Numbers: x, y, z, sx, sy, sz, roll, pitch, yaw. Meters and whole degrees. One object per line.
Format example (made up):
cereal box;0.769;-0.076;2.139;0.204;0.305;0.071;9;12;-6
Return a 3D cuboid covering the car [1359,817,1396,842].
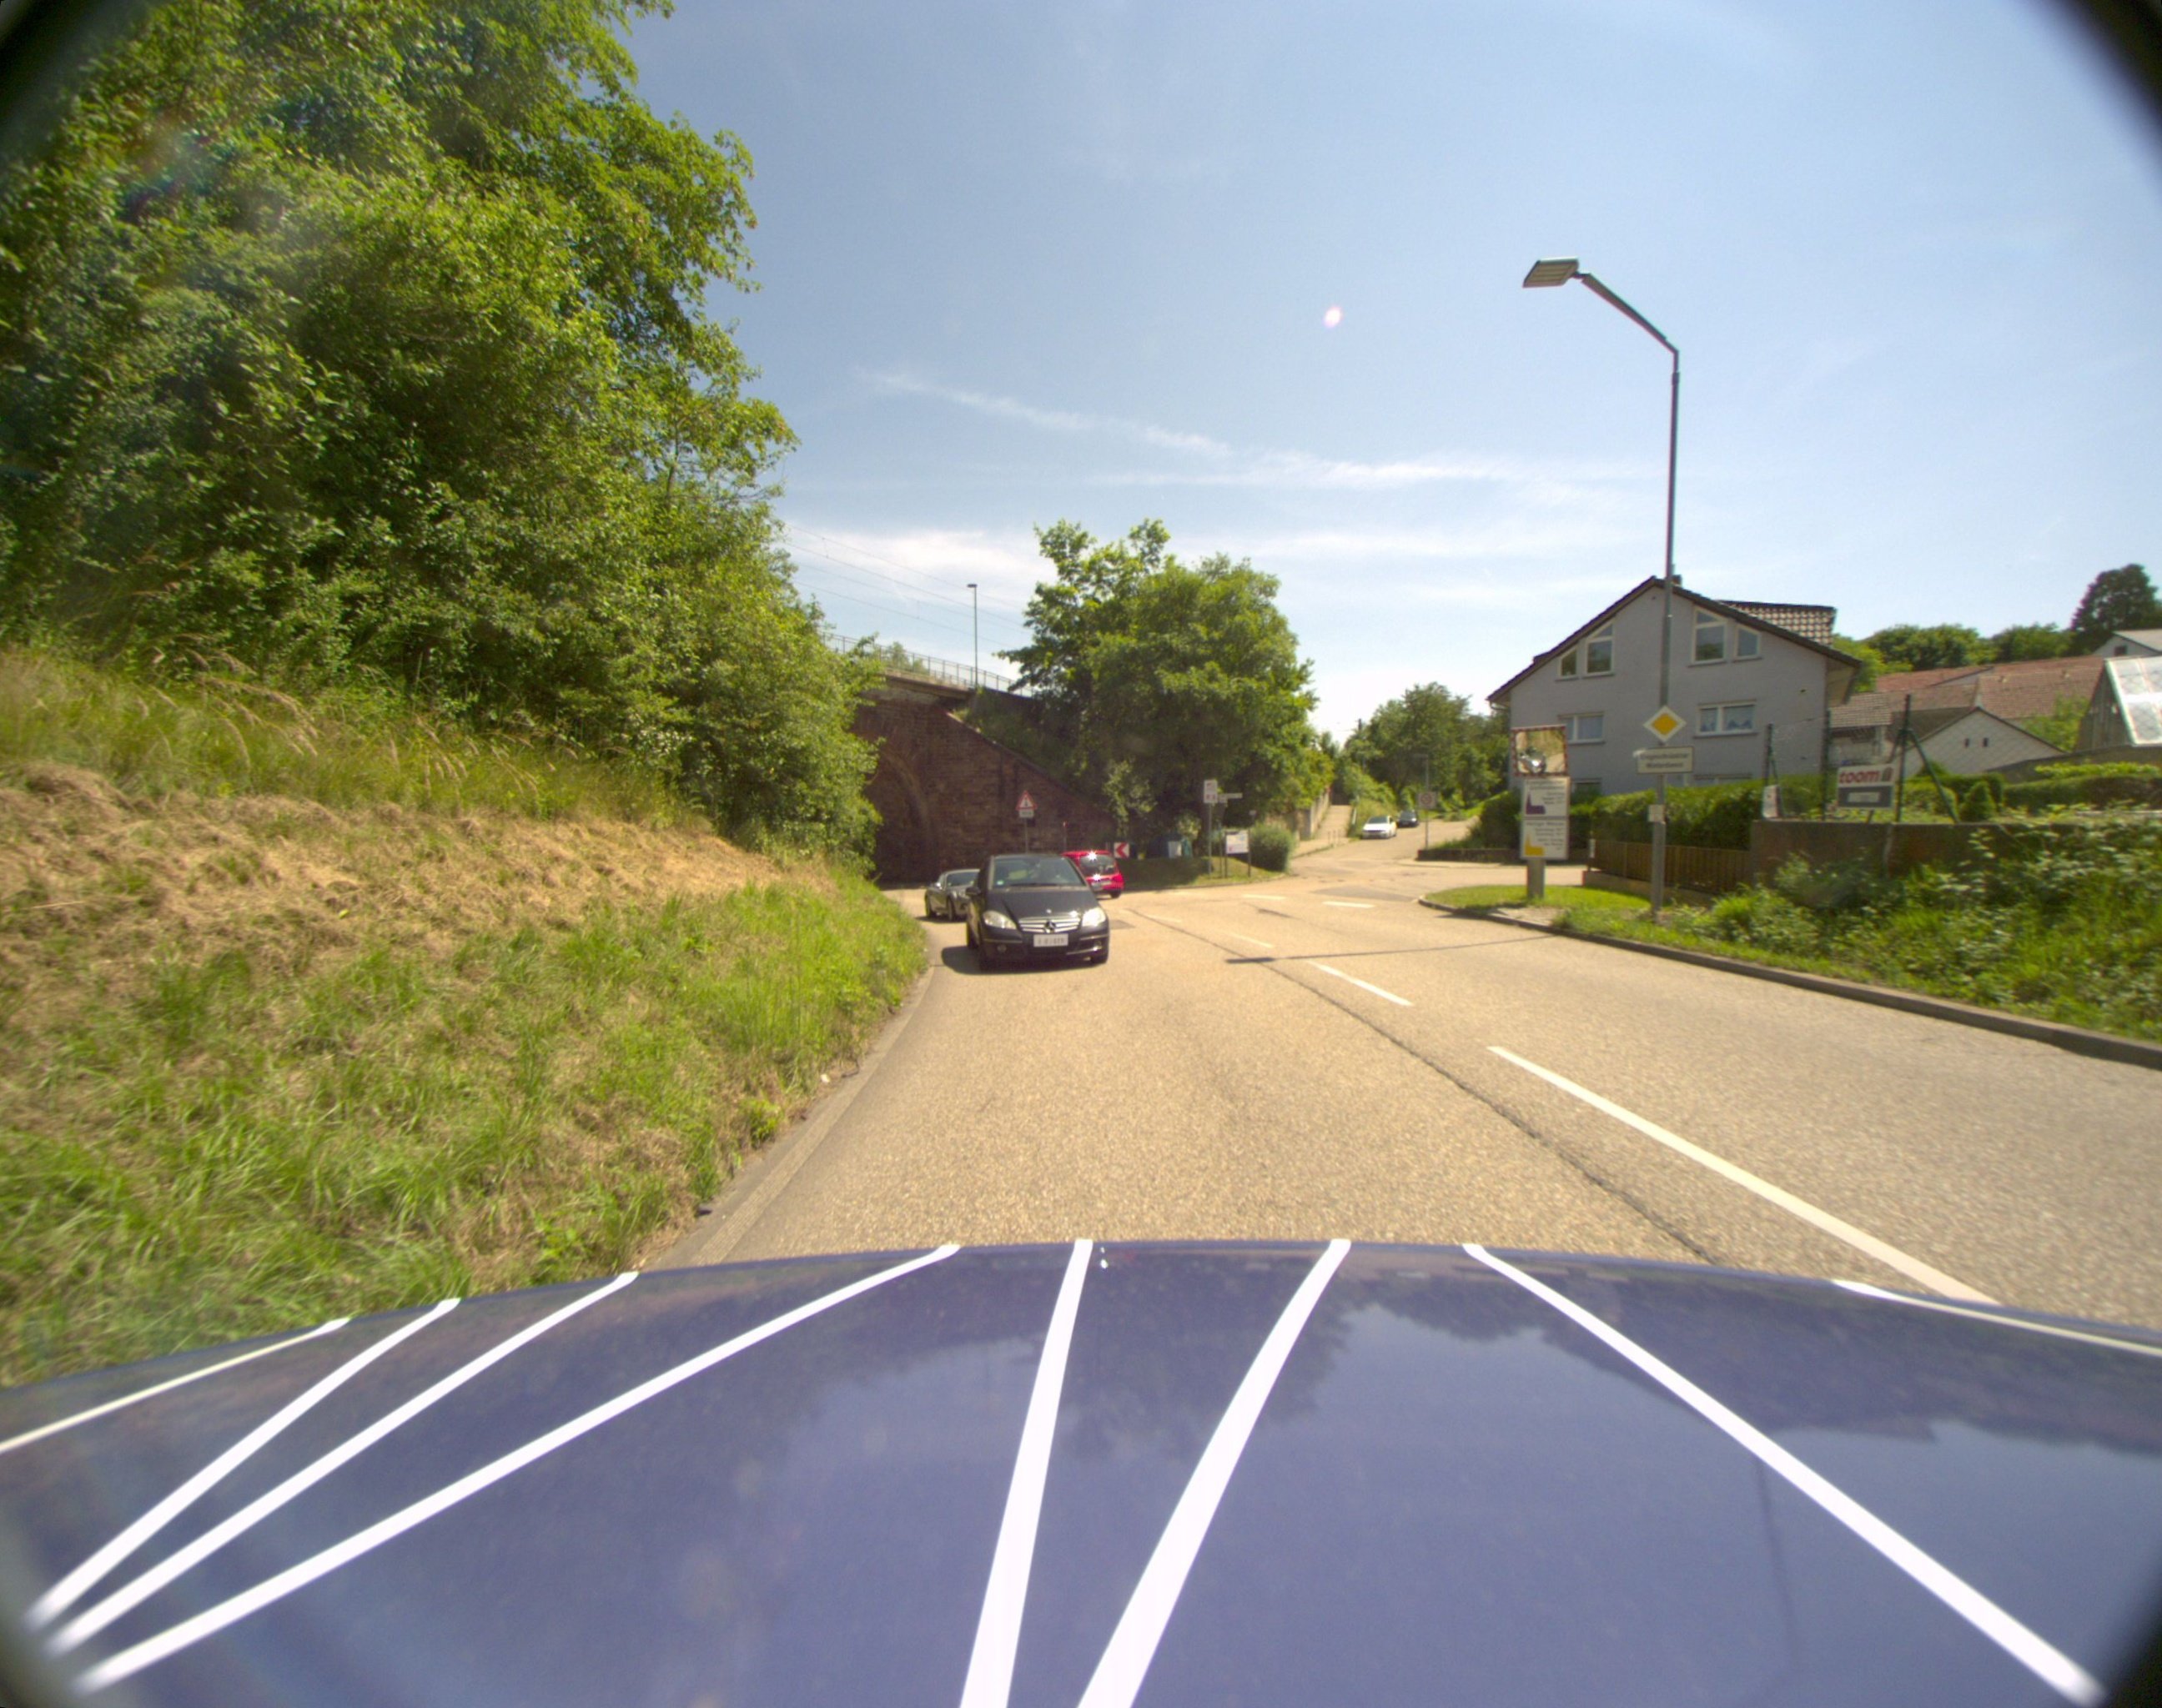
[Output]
car;20.939;-1.772;53.583;1.995;1.499;4.004;-1;4;27

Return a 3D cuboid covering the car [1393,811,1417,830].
car;28.978;-3.023;67.870;1.746;1.382;4.004;-1;4;27

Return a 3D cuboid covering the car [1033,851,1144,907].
car;0.151;0.713;22.906;1.663;1.450;3.628;-4;2;-30

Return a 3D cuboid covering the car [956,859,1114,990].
car;-0.866;0.904;11.574;1.797;1.570;3.795;-2;0;-12

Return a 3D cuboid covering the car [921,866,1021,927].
car;-2.905;1.033;19.505;1.650;1.314;3.432;-4;0;-23
